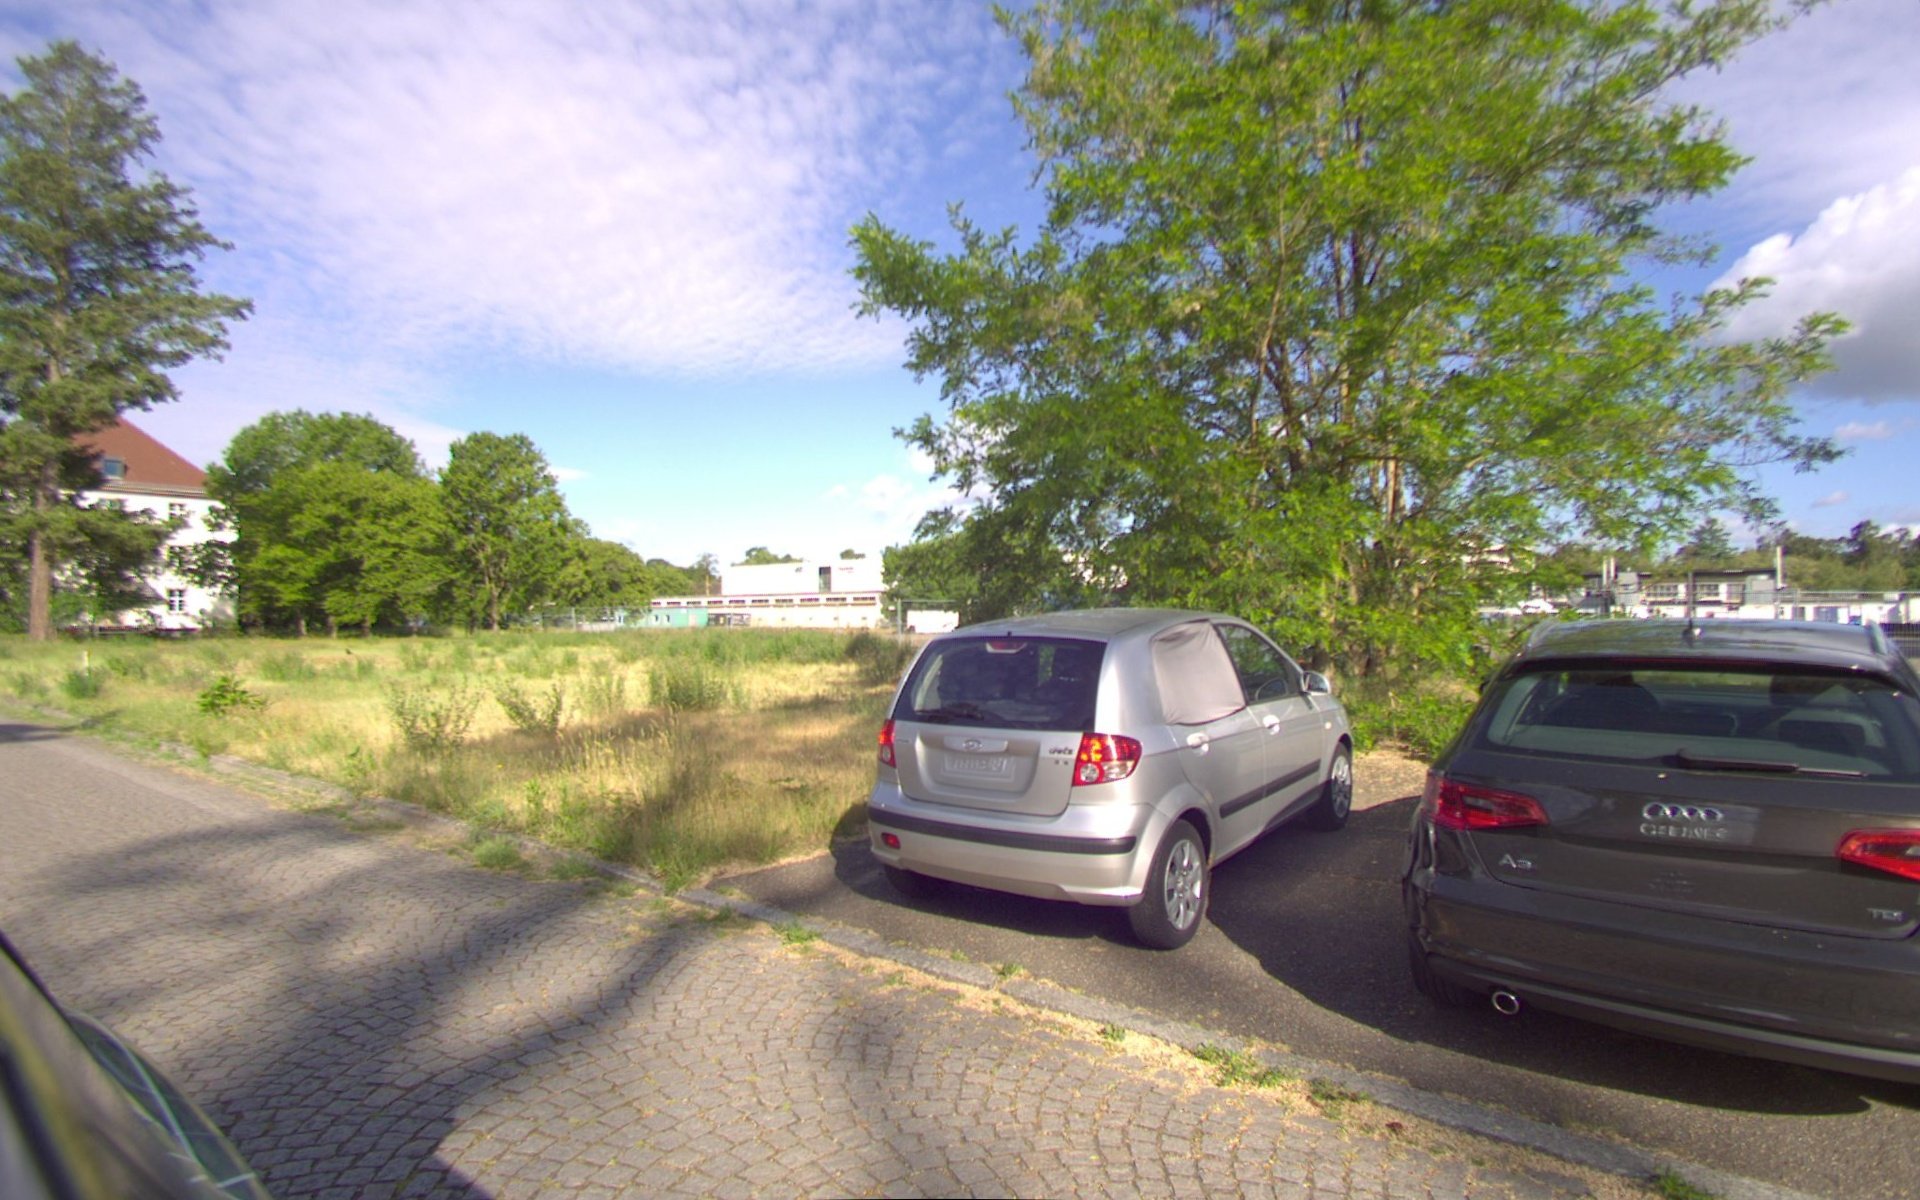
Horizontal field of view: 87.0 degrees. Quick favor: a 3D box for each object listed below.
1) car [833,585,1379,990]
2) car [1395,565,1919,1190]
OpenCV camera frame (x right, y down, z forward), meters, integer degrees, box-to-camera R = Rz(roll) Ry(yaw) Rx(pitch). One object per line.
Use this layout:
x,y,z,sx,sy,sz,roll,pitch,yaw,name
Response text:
1.078,0.721,5.795,1.634,1.482,3.434,-1,1,37,car
3.213,0.645,4.188,1.685,1.482,3.761,-1,1,38,car
